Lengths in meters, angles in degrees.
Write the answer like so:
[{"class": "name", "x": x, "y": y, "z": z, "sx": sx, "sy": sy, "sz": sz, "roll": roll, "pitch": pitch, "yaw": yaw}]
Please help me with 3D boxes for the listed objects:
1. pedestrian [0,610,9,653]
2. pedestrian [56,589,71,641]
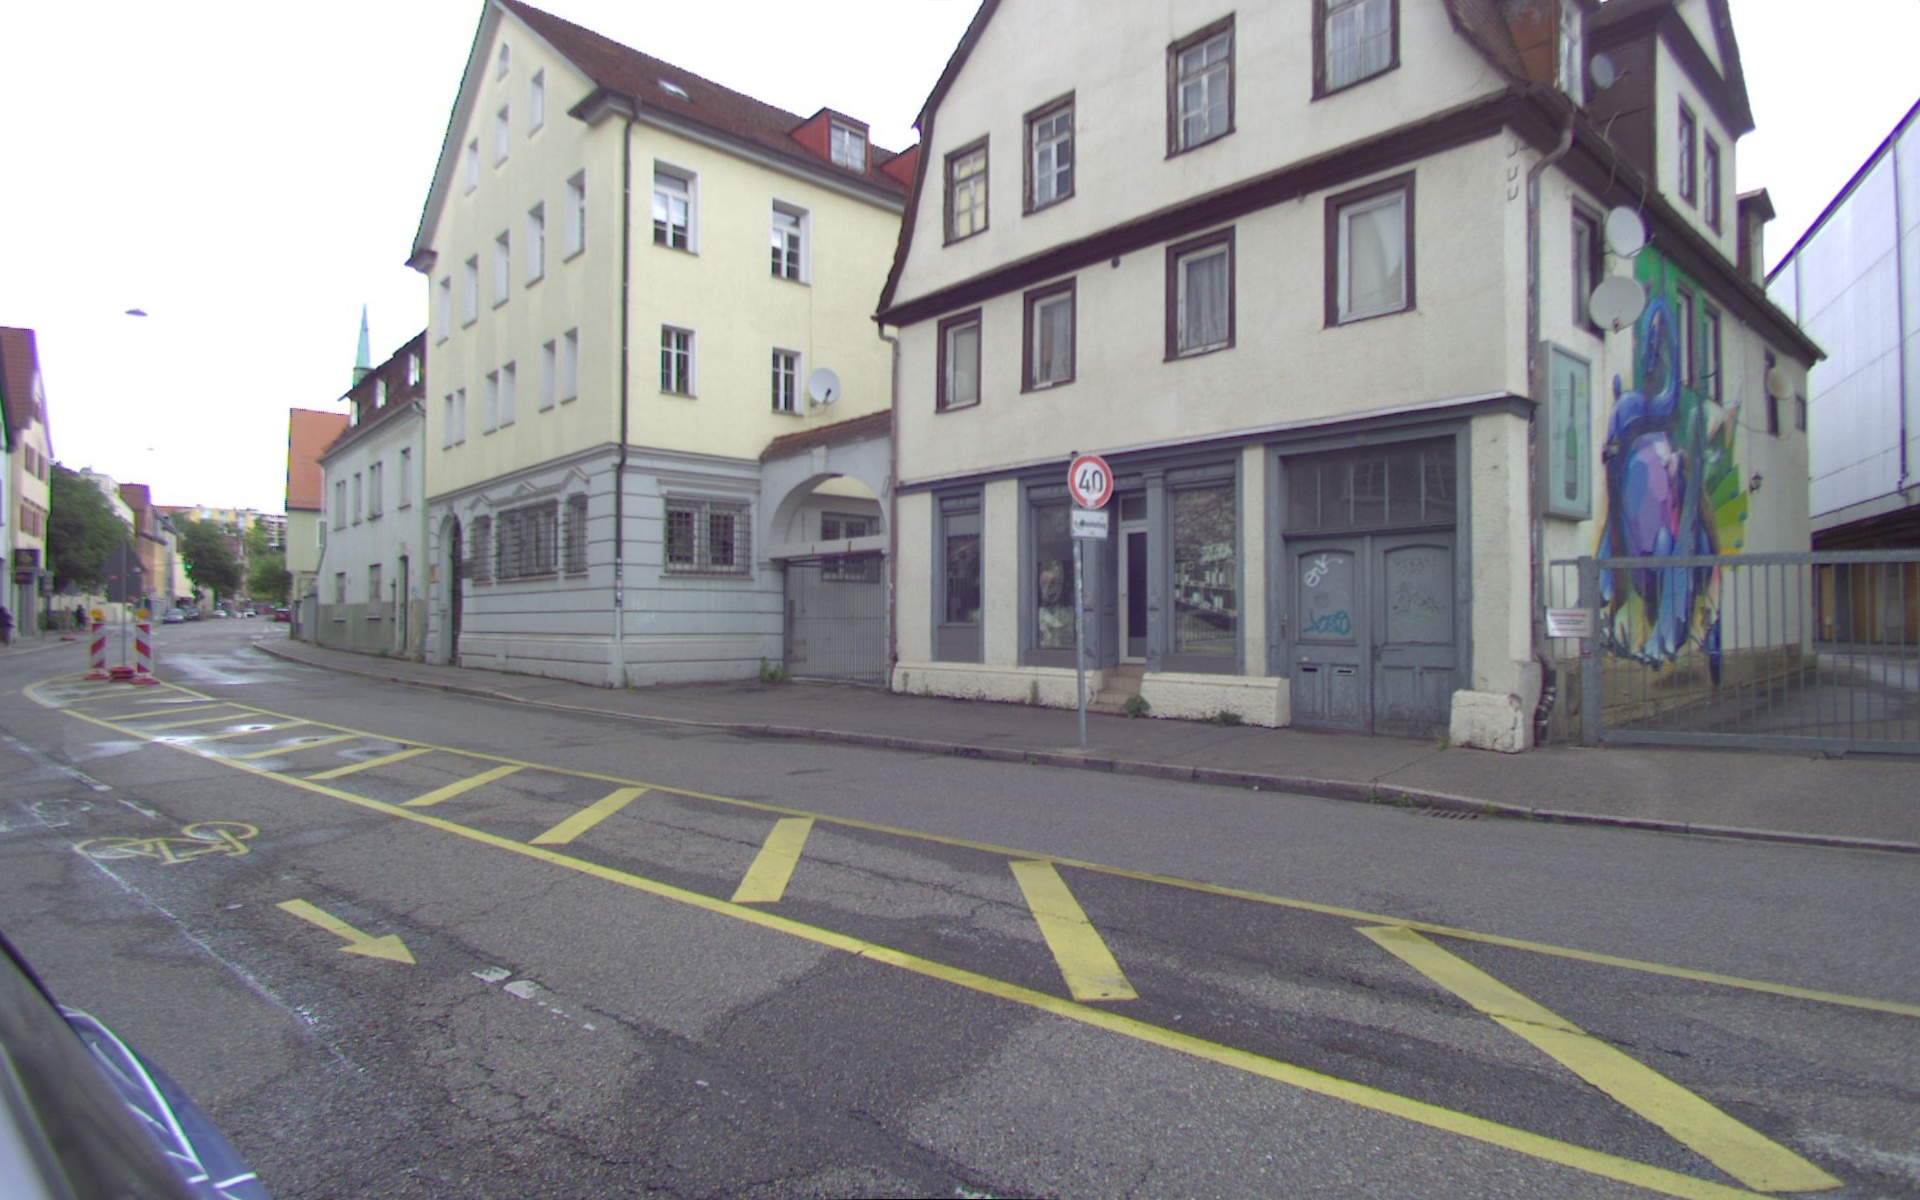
[{"class": "pedestrian", "x": -37.318, "y": 1.216, "z": 39.114, "sx": 0.714, "sy": 1.626, "sz": 0.650, "roll": 1, "pitch": -2, "yaw": -37}, {"class": "pedestrian", "x": -43.771, "y": 0.738, "z": 49.414, "sx": 0.487, "sy": 2.547, "sz": 0.747, "roll": 1, "pitch": -2, "yaw": -38}]
